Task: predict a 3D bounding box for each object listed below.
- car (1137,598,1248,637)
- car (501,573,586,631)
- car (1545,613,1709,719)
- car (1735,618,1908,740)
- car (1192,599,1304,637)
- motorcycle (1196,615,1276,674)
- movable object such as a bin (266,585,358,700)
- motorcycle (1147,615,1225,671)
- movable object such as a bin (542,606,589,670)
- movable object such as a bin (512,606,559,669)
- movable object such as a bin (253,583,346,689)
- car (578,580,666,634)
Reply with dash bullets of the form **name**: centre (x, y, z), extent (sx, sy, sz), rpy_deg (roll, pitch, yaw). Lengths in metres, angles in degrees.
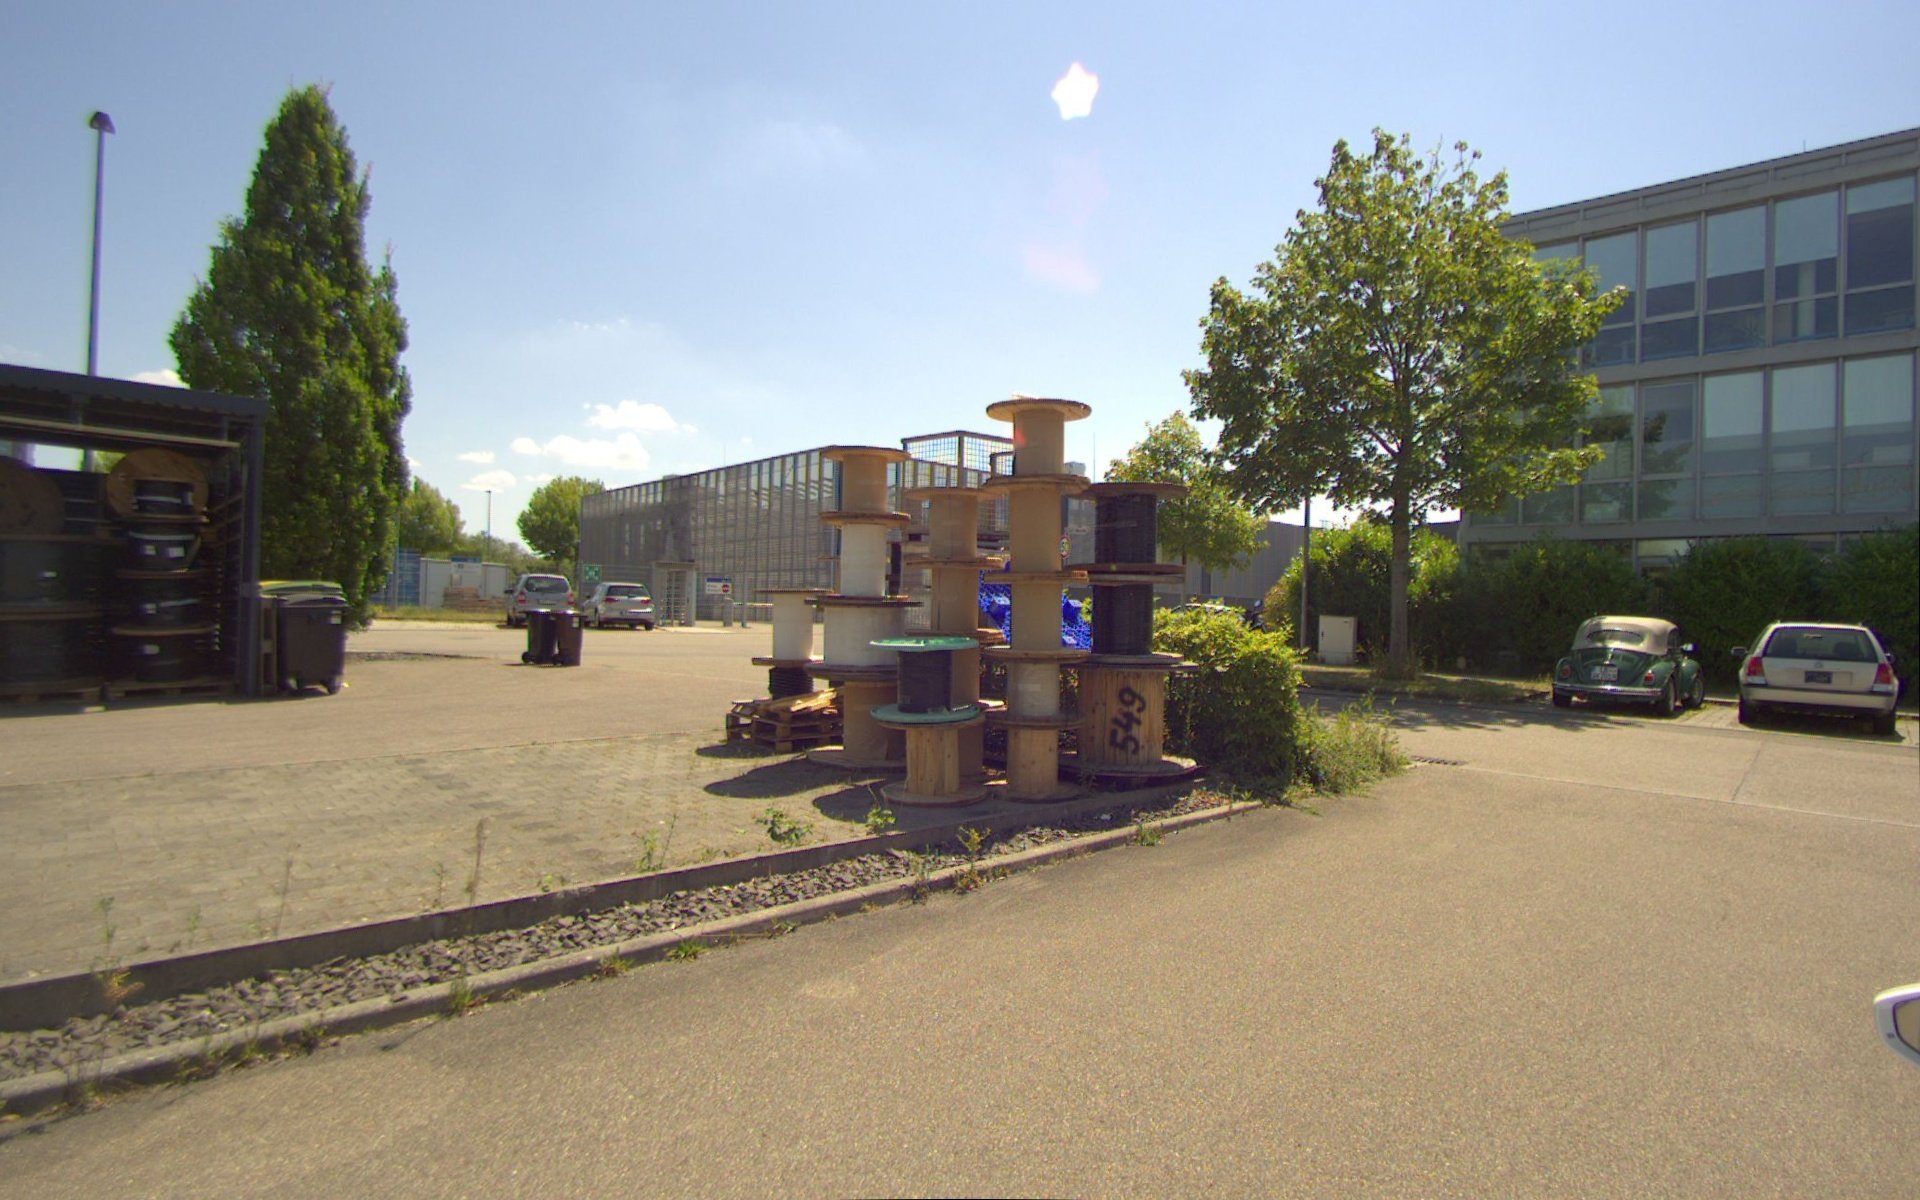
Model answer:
- **car**: centre (10.005, 0.707, 43.534), extent (1.976, 1.511, 4.817), rpy_deg (1, 1, -29)
- **car**: centre (-13.019, 0.045, 31.280), extent (1.976, 1.611, 3.969), rpy_deg (3, 0, -29)
- **car**: centre (10.850, 0.970, 16.248), extent (1.526, 1.468, 3.631), rpy_deg (2, 1, 45)
- **car**: centre (12.604, 1.041, 14.751), extent (1.711, 1.468, 3.635), rpy_deg (2, 1, 41)
- **car**: centre (12.710, 0.774, 44.638), extent (1.976, 1.511, 4.817), rpy_deg (1, 1, -29)
- **motorcycle**: centre (5.751, 0.906, 20.857), extent (1.944, 1.153, 0.706), rpy_deg (1, 0, -44)
- **movable object such as a bin**: centre (-8.091, 0.512, 12.534), extent (0.876, 1.362, 0.805), rpy_deg (2, 0, -38)
- **motorcycle**: centre (4.913, 0.909, 21.769), extent (1.944, 1.153, 0.706), rpy_deg (1, 0, -44)
- **movable object such as a bin**: centre (-6.693, 0.636, 17.047), extent (0.567, 1.050, 0.426), rpy_deg (1, 0, 14)
- **movable object such as a bin**: centre (-7.260, 0.634, 17.194), extent (0.570, 1.041, 0.426), rpy_deg (1, 0, 14)
- **movable object such as a bin**: centre (-8.810, 0.470, 13.398), extent (0.965, 1.347, 0.702), rpy_deg (2, 0, -38)
- **car**: centre (-10.905, 0.190, 32.232), extent (1.976, 1.511, 3.969), rpy_deg (3, -1, -29)
